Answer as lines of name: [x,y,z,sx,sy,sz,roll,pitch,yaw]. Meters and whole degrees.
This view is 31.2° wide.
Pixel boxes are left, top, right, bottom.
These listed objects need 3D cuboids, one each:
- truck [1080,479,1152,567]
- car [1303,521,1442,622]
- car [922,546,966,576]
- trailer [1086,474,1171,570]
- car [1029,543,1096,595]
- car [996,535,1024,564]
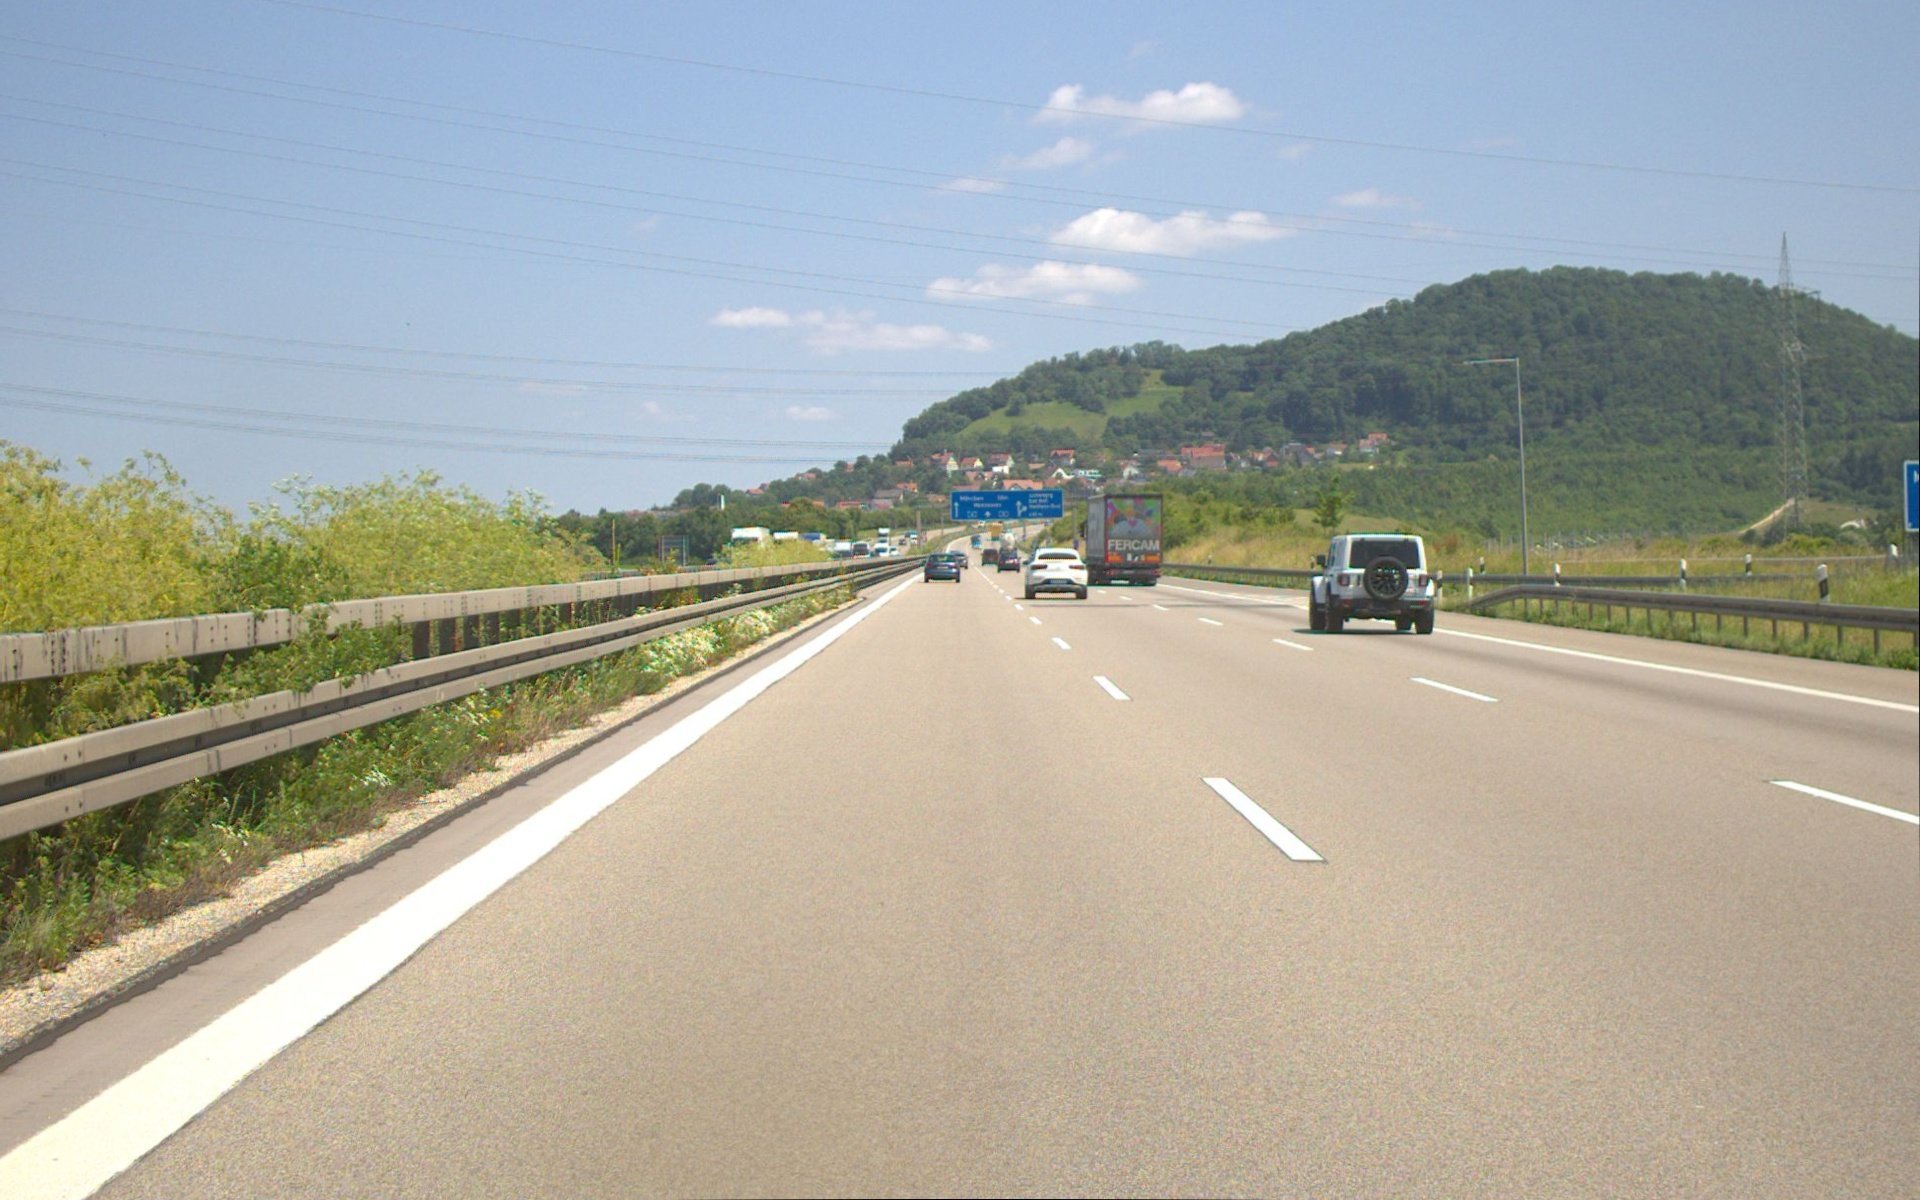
truck: [7.286,-3.562,161.446,2.752,4.007,6.789,1,0,-2]
car: [7.701,-0.552,64.573,2.034,1.798,4.251,-1,1,-1]
car: [-0.728,-1.832,162.238,1.993,1.384,4.000,1,0,1]
trailer: [7.546,-3.461,155.479,2.725,4.140,11.809,1,0,-2]
car: [3.200,-0.986,108.404,1.914,1.575,5.231,1,0,0]
car: [3.612,-3.630,247.486,1.993,2.007,4.000,1,0,1]
